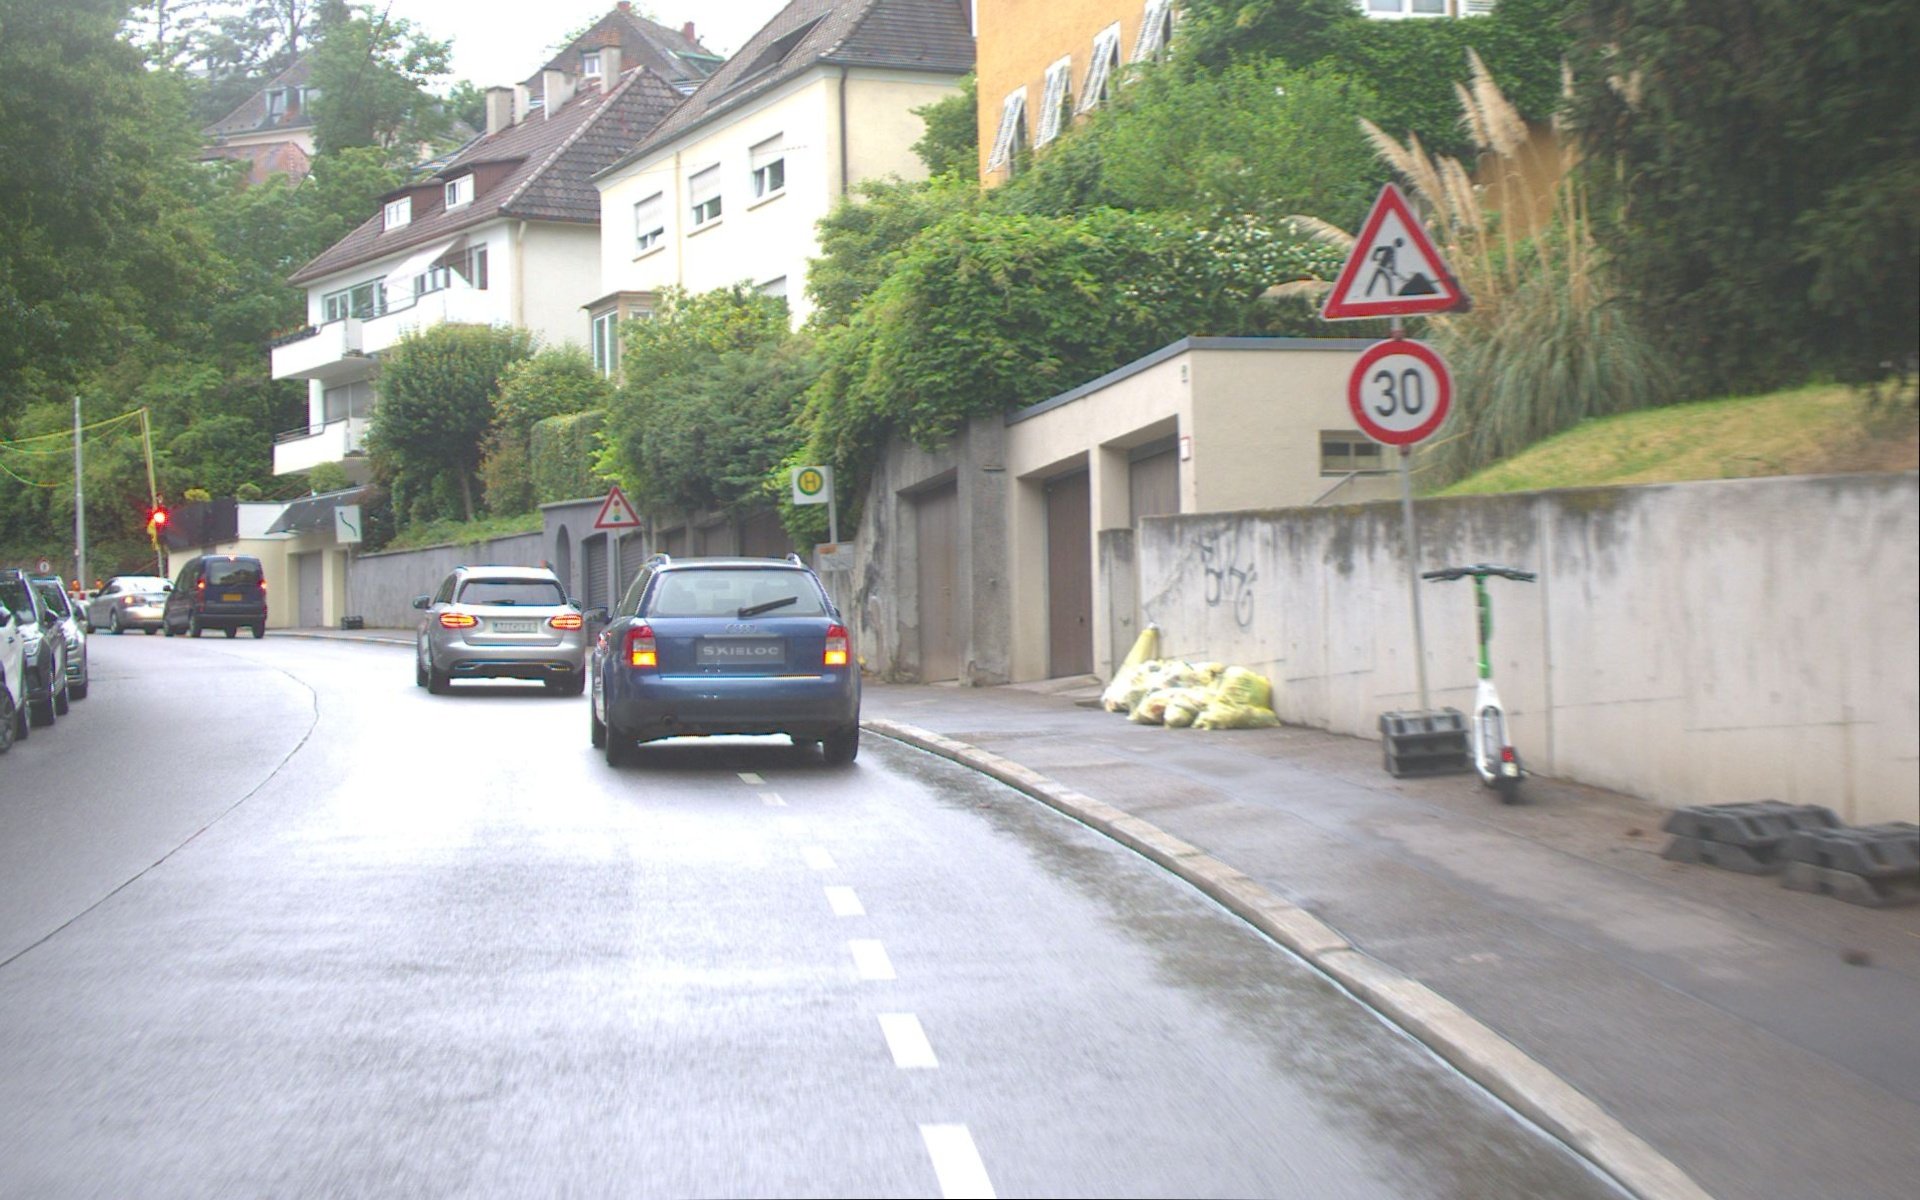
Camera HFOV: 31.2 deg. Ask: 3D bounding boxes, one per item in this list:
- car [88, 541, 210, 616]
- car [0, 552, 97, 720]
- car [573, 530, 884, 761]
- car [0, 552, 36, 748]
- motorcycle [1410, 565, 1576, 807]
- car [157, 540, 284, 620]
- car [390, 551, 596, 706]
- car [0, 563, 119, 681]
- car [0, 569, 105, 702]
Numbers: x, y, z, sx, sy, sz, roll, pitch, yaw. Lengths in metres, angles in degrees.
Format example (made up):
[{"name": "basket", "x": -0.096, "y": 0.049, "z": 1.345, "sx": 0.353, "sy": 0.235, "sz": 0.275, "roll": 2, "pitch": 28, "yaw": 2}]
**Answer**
[{"name": "car", "x": -19.706, "y": -0.505, "z": 83.392, "sx": 1.993, "sy": 1.678, "sz": 4.001, "roll": -3, "pitch": 1, "yaw": -26}, {"name": "car", "x": -9.873, "y": 0.382, "z": 34.658, "sx": 1.993, "sy": 1.568, "sz": 4.001, "roll": -3, "pitch": 1, "yaw": -11}, {"name": "car", "x": -1.757, "y": 0.294, "z": 24.752, "sx": 1.853, "sy": 1.409, "sz": 4.362, "roll": -3, "pitch": 0, "yaw": -8}, {"name": "car", "x": -9.022, "y": 0.429, "z": 29.258, "sx": 1.877, "sy": 1.591, "sz": 4.001, "roll": -3, "pitch": 1, "yaw": -11}, {"name": "motorcycle", "x": 2.645, "y": 0.406, "z": 17.163, "sx": 0.548, "sy": 1.128, "sz": 1.440, "roll": -2, "pitch": 1, "yaw": -1}, {"name": "car", "x": -16.707, "y": -0.437, "z": 77.538, "sx": 1.993, "sy": 1.678, "sz": 4.001, "roll": -3, "pitch": 1, "yaw": -23}, {"name": "car", "x": -5.555, "y": 0.282, "z": 40.475, "sx": 1.949, "sy": 1.556, "sz": 4.265, "roll": -2, "pitch": 3, "yaw": -13}, {"name": "car", "x": -12.673, "y": 0.306, "z": 47.127, "sx": 1.993, "sy": 1.470, "sz": 4.001, "roll": -3, "pitch": 1, "yaw": -16}, {"name": "car", "x": -11.475, "y": 0.440, "z": 41.795, "sx": 1.993, "sy": 1.470, "sz": 4.001, "roll": -3, "pitch": 1, "yaw": -14}]
